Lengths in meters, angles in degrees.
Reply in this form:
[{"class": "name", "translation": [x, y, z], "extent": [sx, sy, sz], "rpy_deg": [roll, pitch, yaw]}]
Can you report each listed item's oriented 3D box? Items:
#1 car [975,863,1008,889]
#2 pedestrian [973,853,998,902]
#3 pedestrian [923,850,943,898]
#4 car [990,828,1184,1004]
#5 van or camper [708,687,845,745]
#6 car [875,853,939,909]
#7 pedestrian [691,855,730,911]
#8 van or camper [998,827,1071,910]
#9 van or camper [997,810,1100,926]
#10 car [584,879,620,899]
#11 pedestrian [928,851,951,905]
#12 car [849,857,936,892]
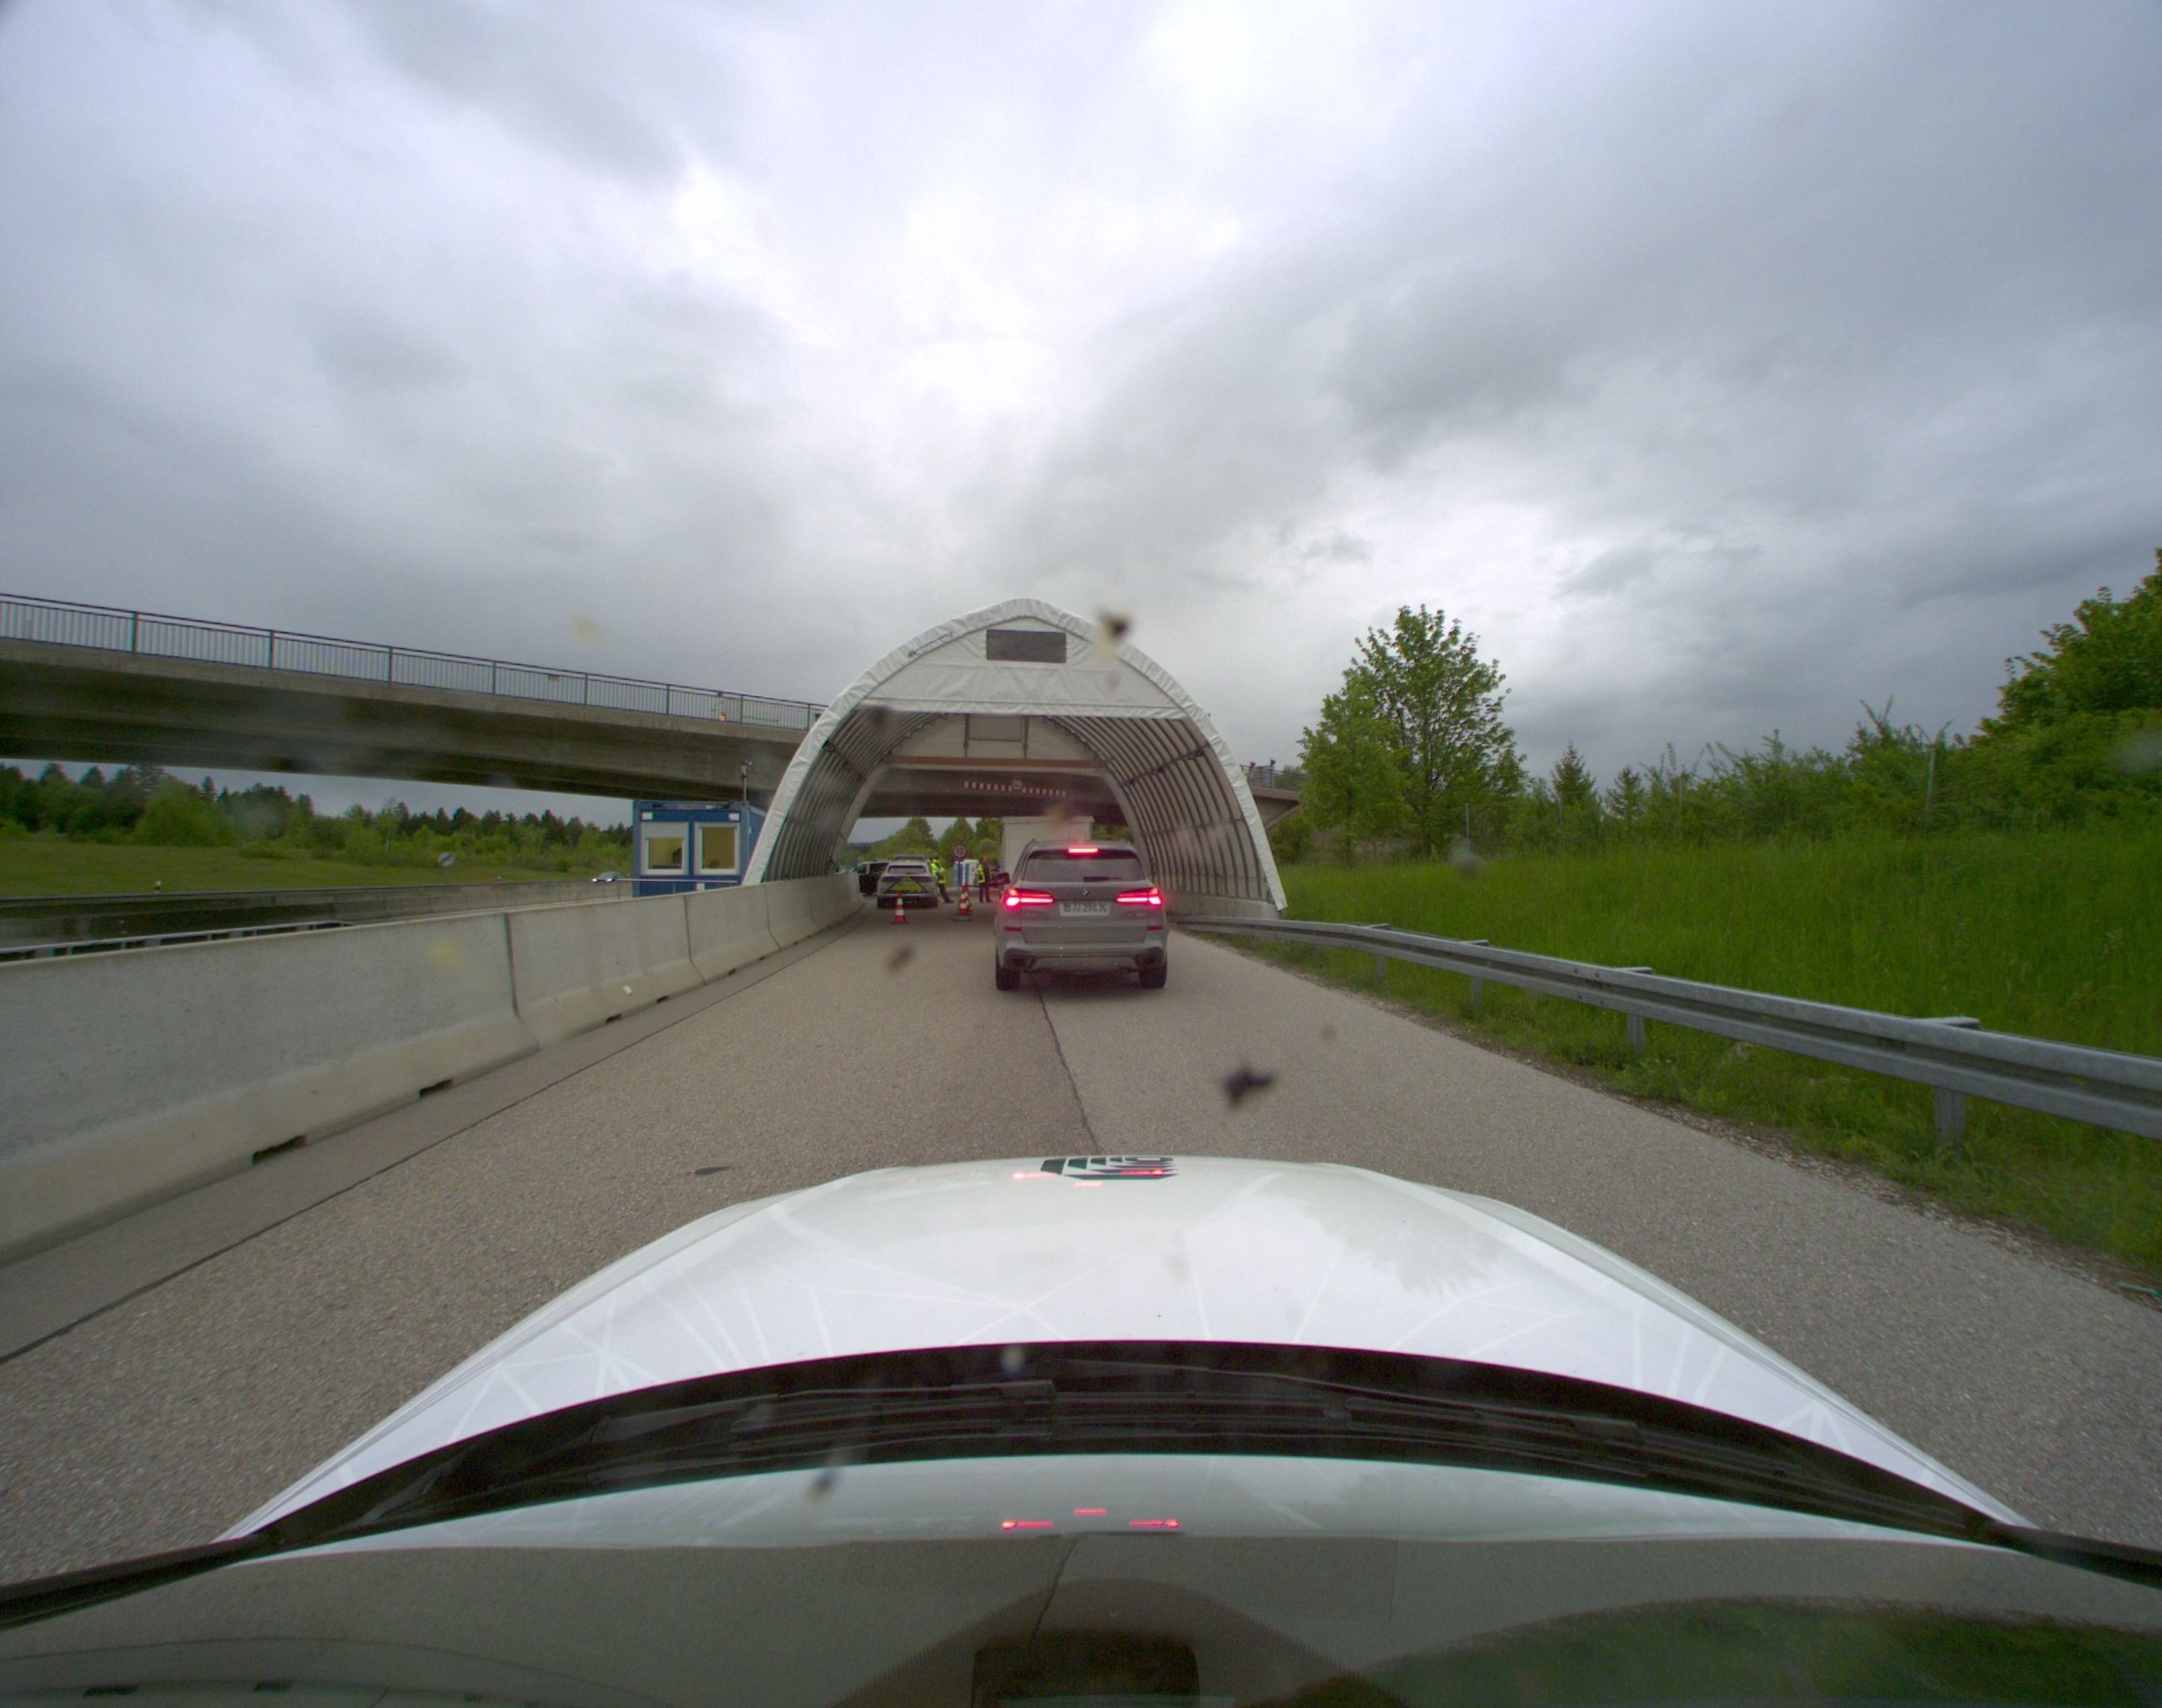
[{"class": "car", "translation": [-6.486, 1.577, 58.722], "extent": [1.994, 1.722, 3.882], "rpy_deg": [-1, -1, -11]}, {"class": "pedestrian", "translation": [-3.482, 0.849, 29.516], "extent": [0.756, 1.722, 0.778], "rpy_deg": [-1, -1, -16]}, {"class": "pedestrian", "translation": [-5.501, 0.737, 30.331], "extent": [0.607, 1.754, 0.665], "rpy_deg": [-1, -1, -4]}, {"class": "car", "translation": [-0.145, 0.660, 10.491], "extent": [1.992, 1.765, 3.990], "rpy_deg": [-1, -1, -7]}, {"class": "van or camper", "translation": [-13.575, -6.119, 36.517], "extent": [5.477, 1.770, 1.875], "rpy_deg": [0, -1, -37]}, {"class": "car", "translation": [-5.775, 0.855, 27.044], "extent": [1.879, 1.647, 3.983], "rpy_deg": [-1, -1, -12]}, {"class": "pedestrian", "translation": [-9.242, 0.718, 20.319], "extent": [0.606, 1.373, 0.629], "rpy_deg": [-2, -1, 10]}, {"class": "van or camper", "translation": [-1.687, 0.475, 27.684], "extent": [2.102, 2.519, 5.537], "rpy_deg": [-1, -1, -7]}, {"class": "van or camper", "translation": [-1.051, 0.340, 21.590], "extent": [2.227, 2.552, 6.595], "rpy_deg": [-1, -1, -6]}, {"class": "car", "translation": [-52.439, 3.805, 89.262], "extent": [1.987, 1.955, 5.084], "rpy_deg": [-1, -1, -14]}, {"class": "pedestrian", "translation": [-5.079, 0.849, 29.214], "extent": [0.750, 1.919, 0.759], "rpy_deg": [-1, -1, -13]}, {"class": "car", "translation": [-11.464, 1.259, 49.606], "extent": [4.777, 2.014, 1.845], "rpy_deg": [-1, -1, 9]}]
